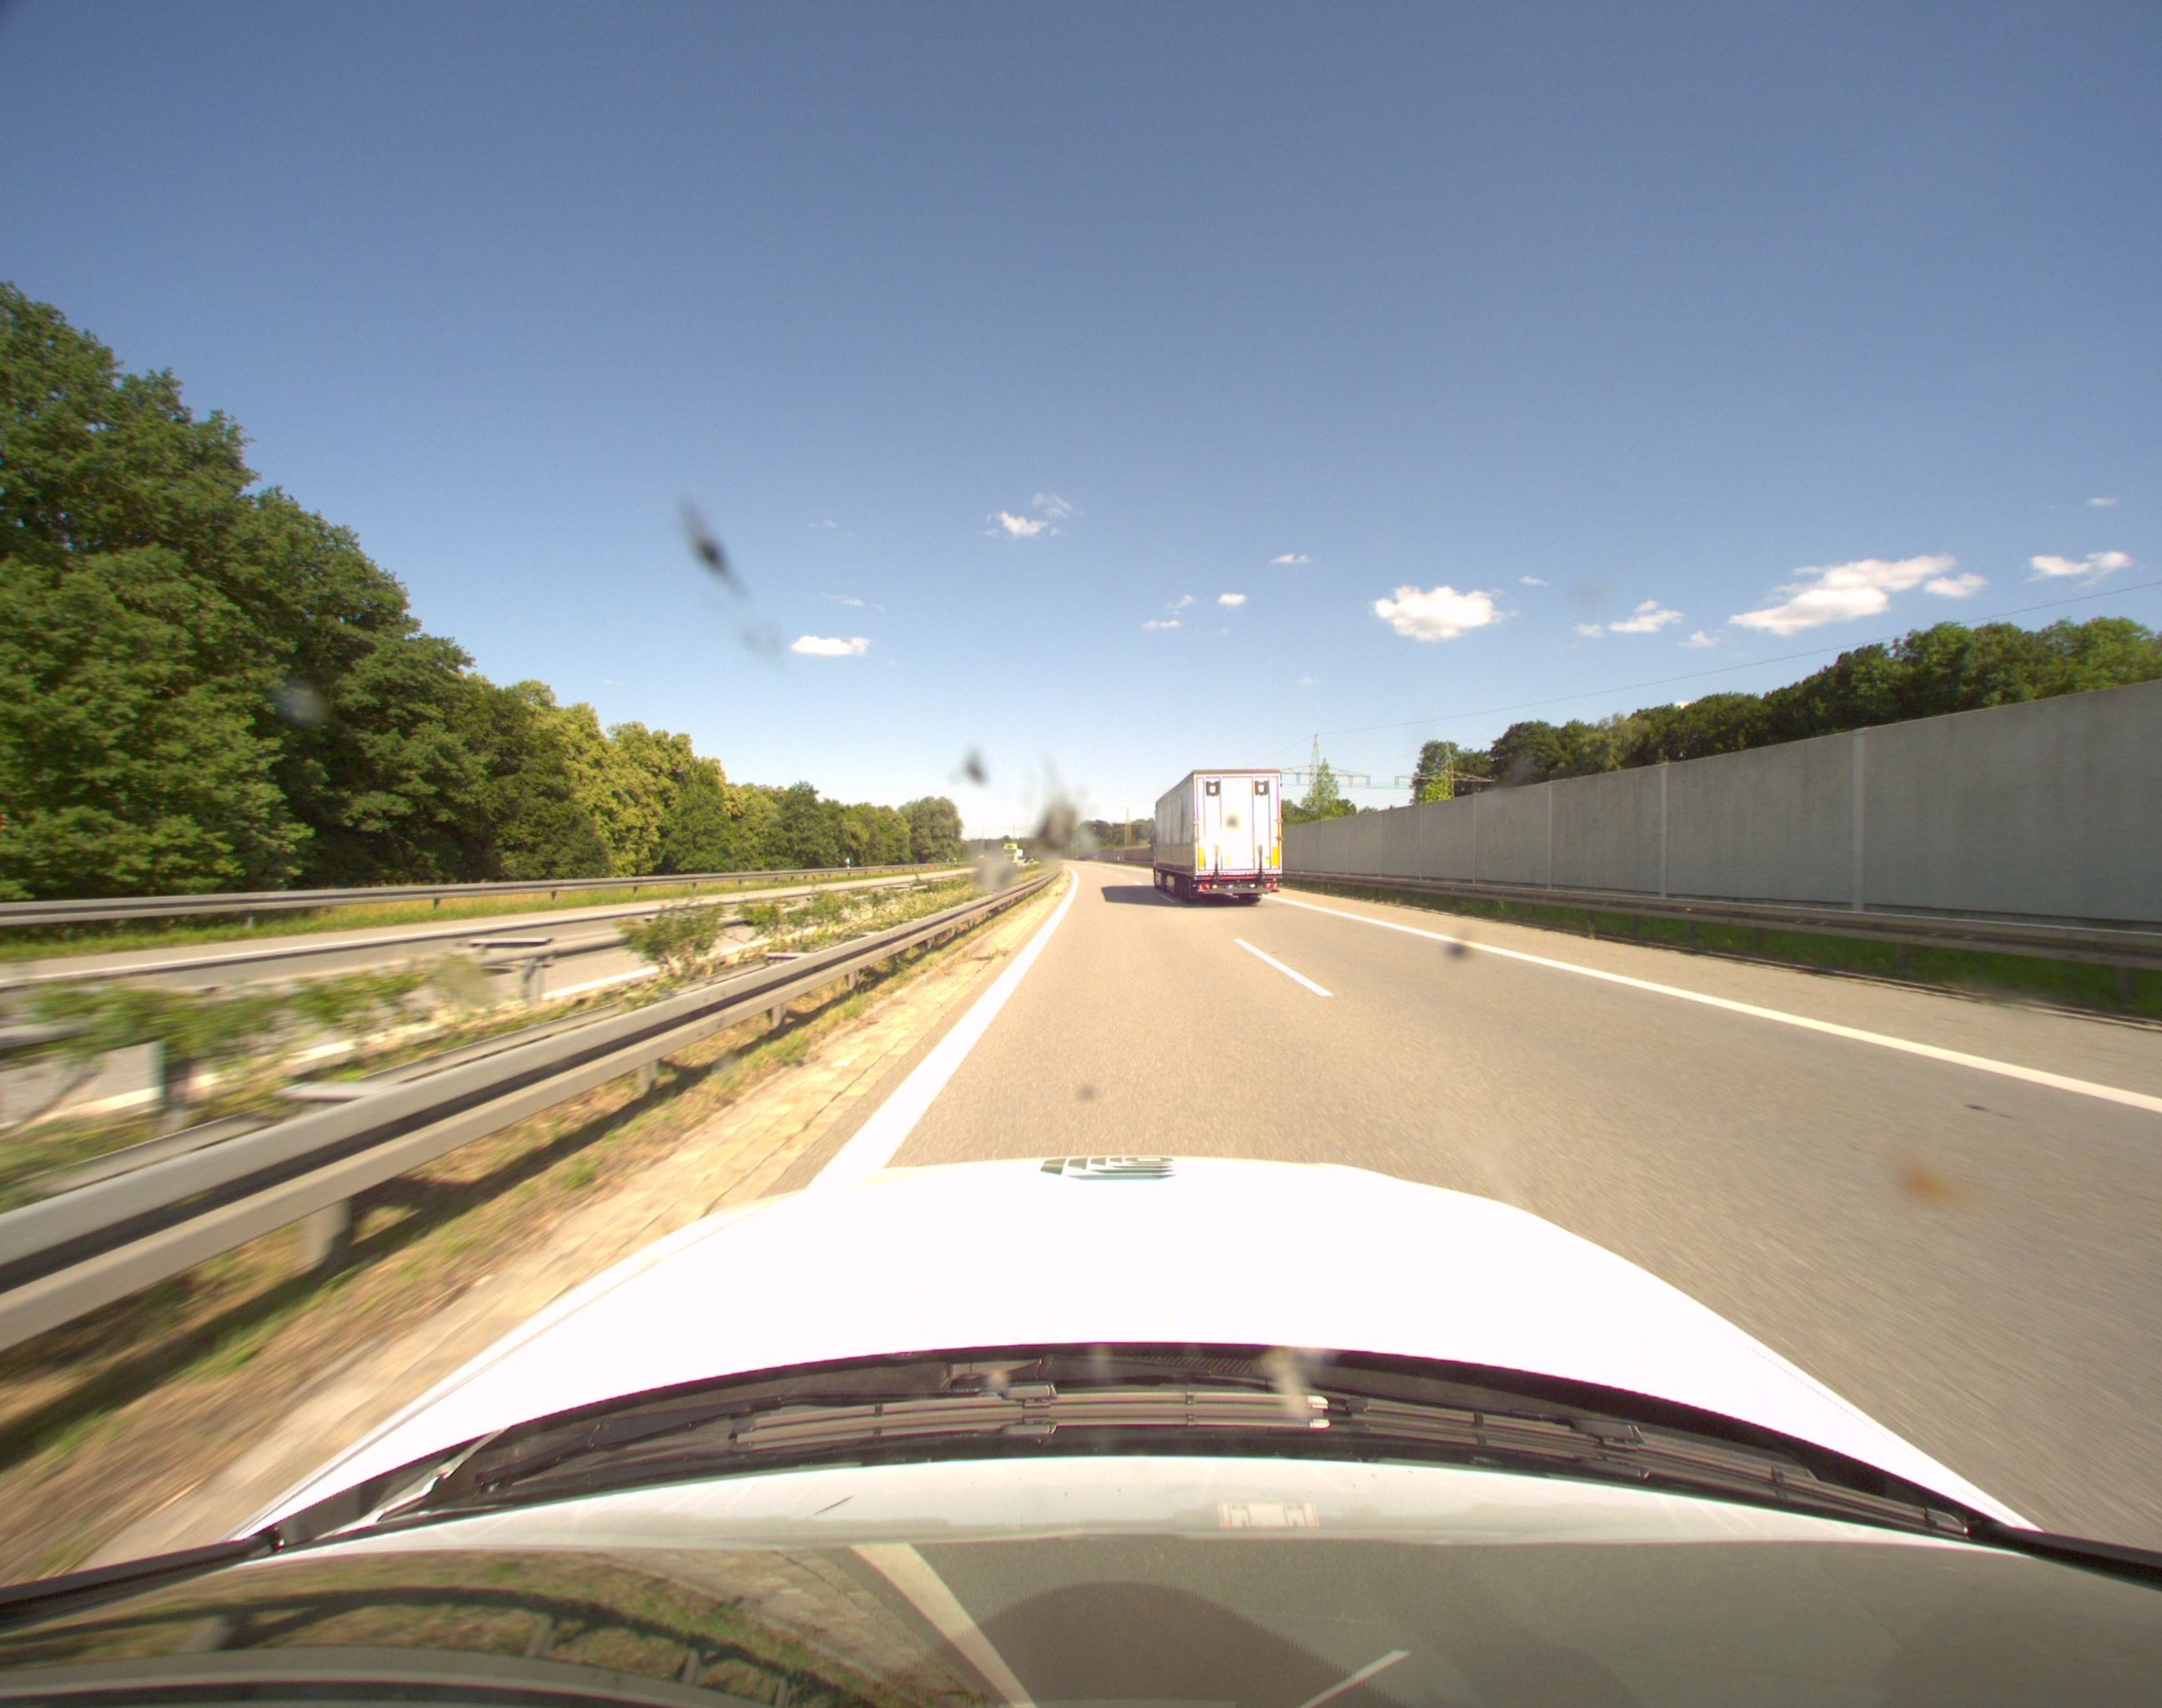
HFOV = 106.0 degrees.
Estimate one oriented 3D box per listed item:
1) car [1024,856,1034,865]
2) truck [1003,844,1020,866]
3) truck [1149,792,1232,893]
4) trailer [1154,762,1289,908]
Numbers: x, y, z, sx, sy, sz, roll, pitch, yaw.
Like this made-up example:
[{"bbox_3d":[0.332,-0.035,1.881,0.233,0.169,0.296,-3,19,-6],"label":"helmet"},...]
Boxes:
[{"bbox_3d":[-10.685,1.330,167.661,1.990,1.670,3.994,-2,0,-4],"label":"car"},{"bbox_3d":[-13.195,0.175,156.022,2.752,3.907,8.760,-3,0,-3],"label":"truck"},{"bbox_3d":[4.735,-0.441,36.338,2.820,4.012,6.588,-2,0,1],"label":"truck"},{"bbox_3d":[4.587,-0.517,29.517,2.874,4.066,12.422,-2,0,1],"label":"trailer"}]
